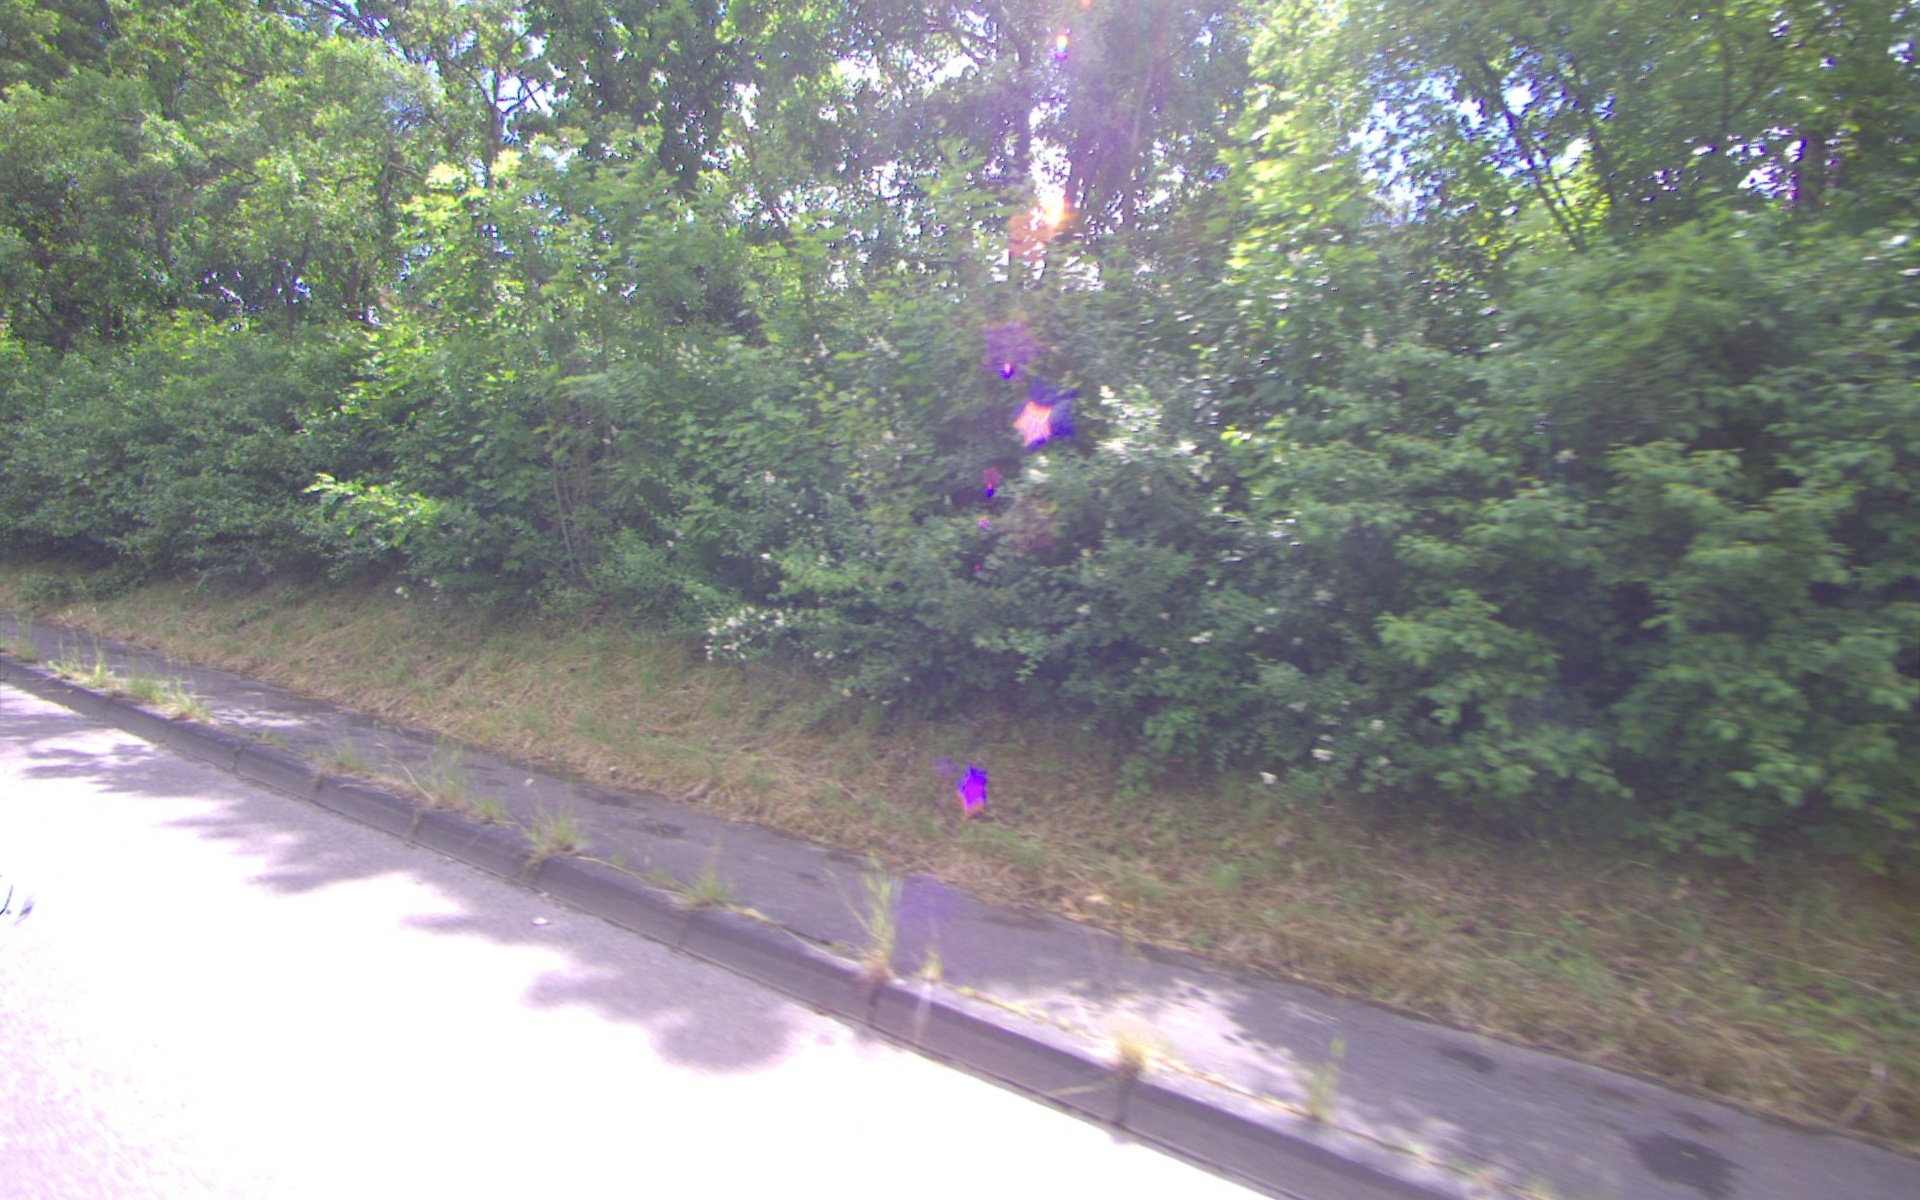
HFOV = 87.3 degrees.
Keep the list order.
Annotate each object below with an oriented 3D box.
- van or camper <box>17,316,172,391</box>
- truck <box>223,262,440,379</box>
[{"bbox_3d":[-33.262,-9.406,38.639,6.054,2.094,2.223,7,-1,27],"label":"van or camper"},{"bbox_3d":[-19.646,-8.551,31.362,6.917,2.690,2.357,7,-1,28],"label":"truck"}]
